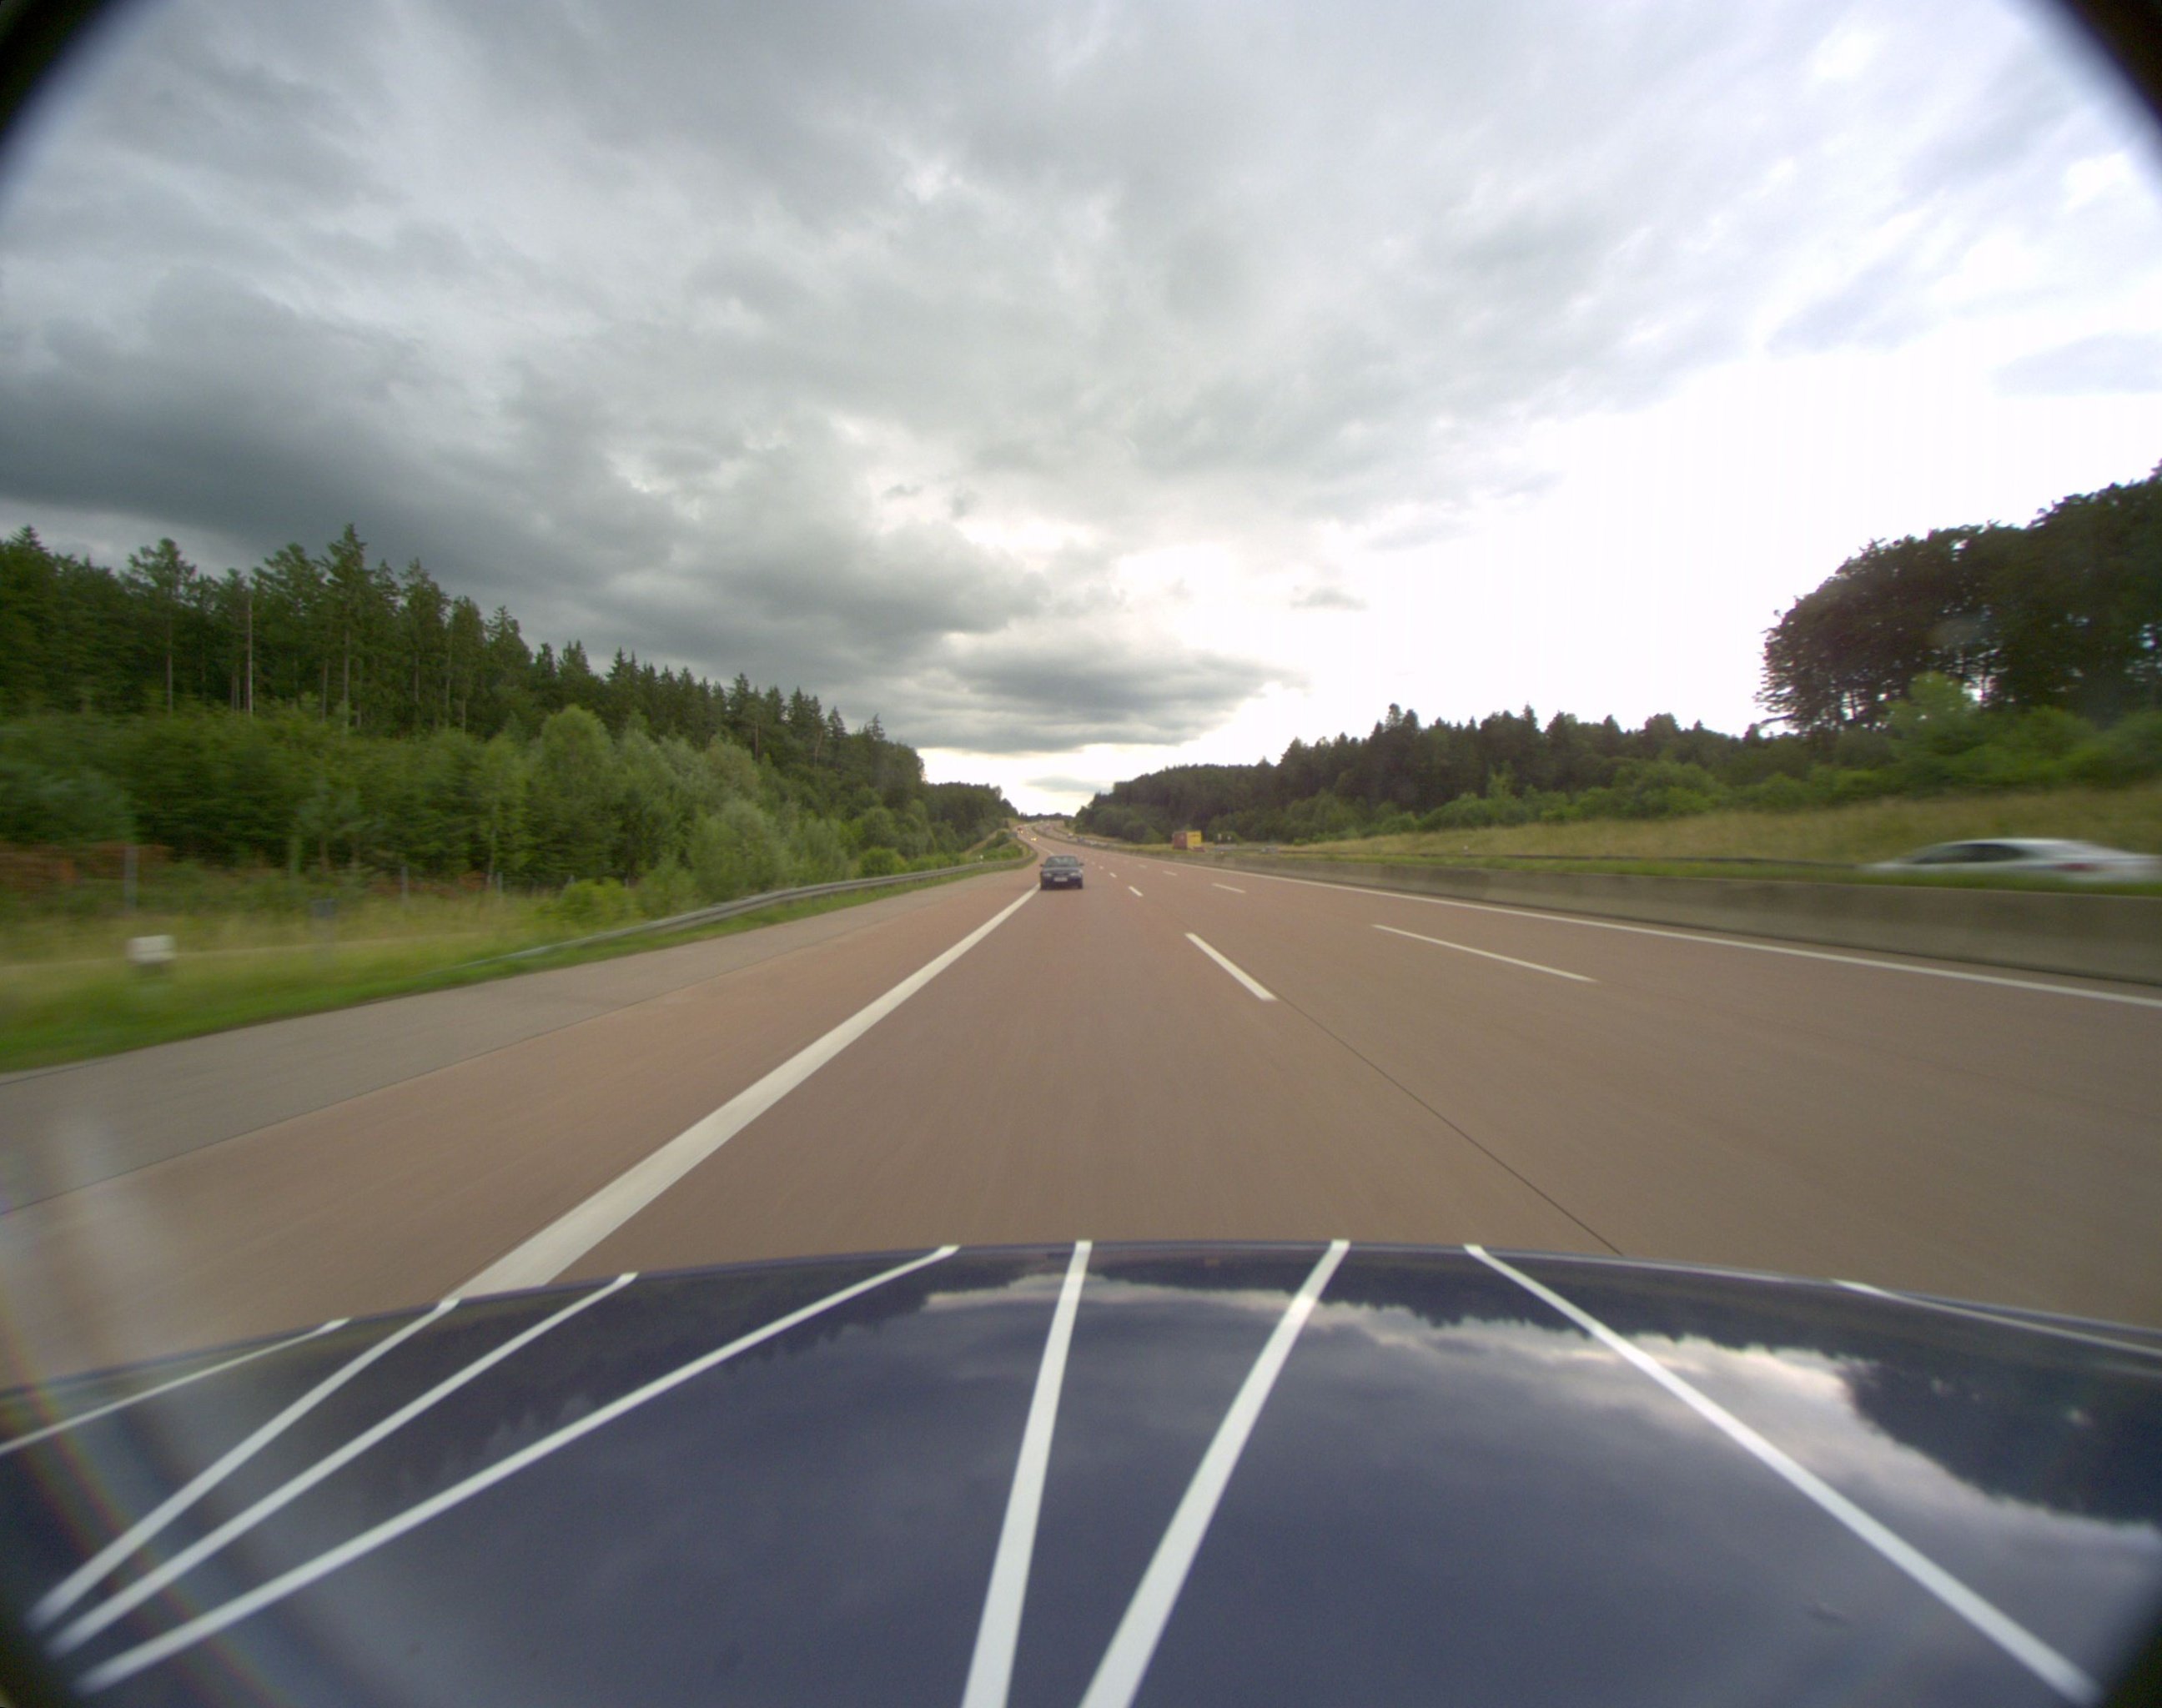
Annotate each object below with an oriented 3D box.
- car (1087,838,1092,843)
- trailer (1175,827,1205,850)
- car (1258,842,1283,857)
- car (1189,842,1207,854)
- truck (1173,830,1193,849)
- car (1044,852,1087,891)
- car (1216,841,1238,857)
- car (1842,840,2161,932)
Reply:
[{"bbox_3d":[2.958,-4.541,259.782,1.571,1.558,3.410,-2,2,-2],"label":"car"},{"bbox_3d":[20.498,-2.954,143.969,3.041,4.018,14.525,-2,1,-2],"label":"trailer"},{"bbox_3d":[22.027,-0.525,88.561,1.767,1.629,4.380,-2,0,0],"label":"car"},{"bbox_3d":[17.388,-0.961,113.135,1.767,1.629,4.378,-2,2,-2],"label":"car"},{"bbox_3d":[20.253,-2.875,151.349,3.020,3.561,6.055,-2,1,-1],"label":"truck"},{"bbox_3d":[-0.614,0.703,32.214,1.676,1.395,4.232,-1,2,0],"label":"car"},{"bbox_3d":[17.152,-0.560,89.444,1.811,1.805,3.999,-1,1,0],"label":"car"},{"bbox_3d":[19.340,0.530,16.026,1.674,1.517,4.824,-2,2,-1],"label":"car"}]
